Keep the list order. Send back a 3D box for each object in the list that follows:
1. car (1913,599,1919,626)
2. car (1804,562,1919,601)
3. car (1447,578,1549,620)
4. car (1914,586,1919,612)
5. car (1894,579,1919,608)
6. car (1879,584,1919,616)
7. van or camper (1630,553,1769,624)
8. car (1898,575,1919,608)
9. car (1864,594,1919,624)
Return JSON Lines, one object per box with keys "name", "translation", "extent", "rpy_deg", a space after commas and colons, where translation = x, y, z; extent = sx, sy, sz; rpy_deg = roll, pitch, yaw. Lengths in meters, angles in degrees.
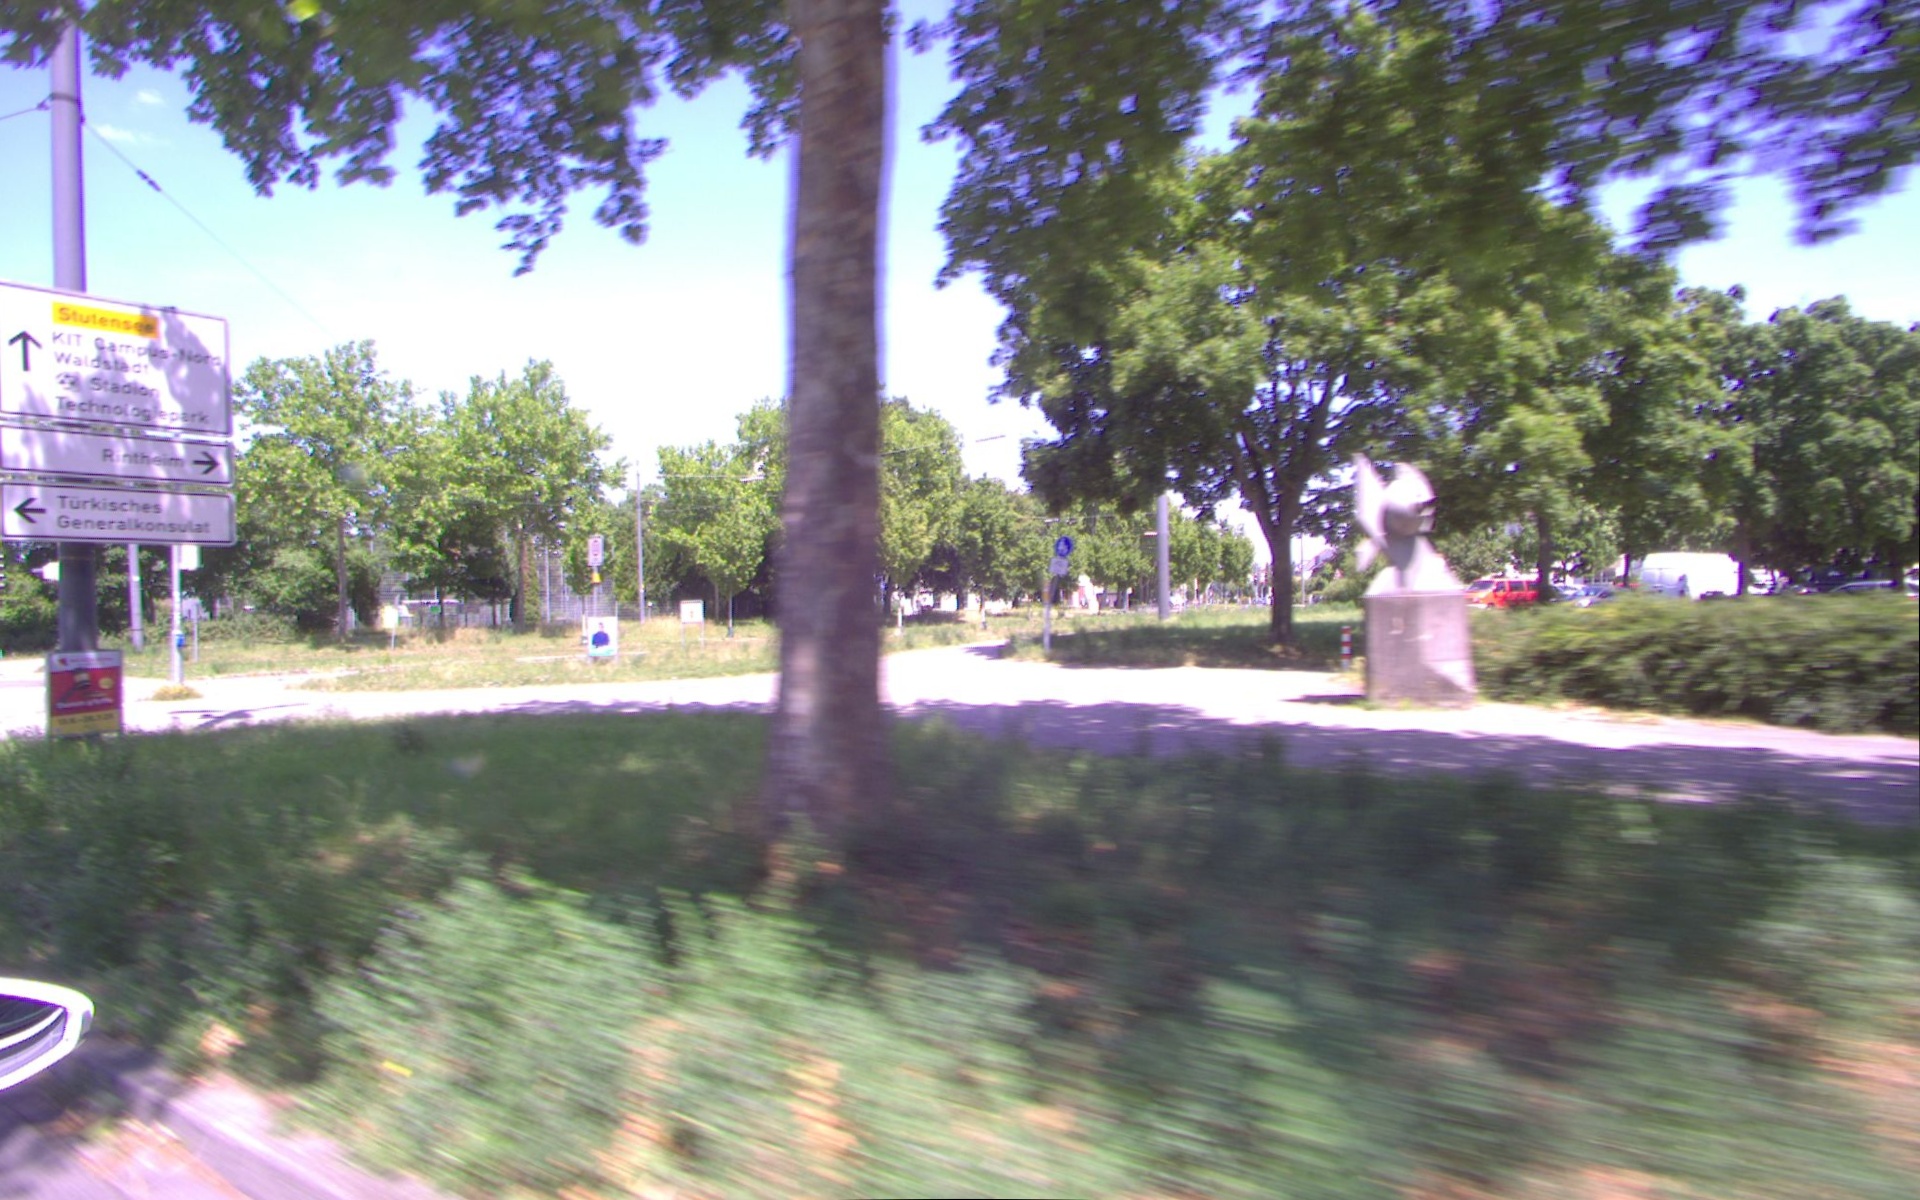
{"name": "car", "translation": [36.401, 0.437, 36.250], "extent": [0.939, 1.000, 2.589], "rpy_deg": [-1, 0, -27]}
{"name": "car", "translation": [49.684, -0.985, 55.115], "extent": [2.210, 2.040, 4.407], "rpy_deg": [-1, 0, -24]}
{"name": "car", "translation": [27.257, -0.076, 50.762], "extent": [4.584, 2.029, 2.068], "rpy_deg": [-1, 0, -21]}
{"name": "car", "translation": [40.511, -0.072, 39.691], "extent": [1.656, 1.048, 3.551], "rpy_deg": [-1, 0, -27]}
{"name": "car", "translation": [38.163, -0.256, 38.880], "extent": [0.991, 1.141, 2.589], "rpy_deg": [-1, 0, -27]}
{"name": "car", "translation": [38.156, -0.022, 38.727], "extent": [1.595, 1.241, 3.558], "rpy_deg": [-1, 0, -27]}
{"name": "van or camper", "translation": [30.726, -0.474, 41.637], "extent": [5.041, 2.787, 2.198], "rpy_deg": [-1, 0, -20]}
{"name": "car", "translation": [60.247, -0.549, 61.115], "extent": [1.936, 2.040, 3.985], "rpy_deg": [-1, 0, -25]}
{"name": "car", "translation": [34.655, 0.317, 36.337], "extent": [0.939, 1.050, 2.589], "rpy_deg": [-1, 0, -27]}
